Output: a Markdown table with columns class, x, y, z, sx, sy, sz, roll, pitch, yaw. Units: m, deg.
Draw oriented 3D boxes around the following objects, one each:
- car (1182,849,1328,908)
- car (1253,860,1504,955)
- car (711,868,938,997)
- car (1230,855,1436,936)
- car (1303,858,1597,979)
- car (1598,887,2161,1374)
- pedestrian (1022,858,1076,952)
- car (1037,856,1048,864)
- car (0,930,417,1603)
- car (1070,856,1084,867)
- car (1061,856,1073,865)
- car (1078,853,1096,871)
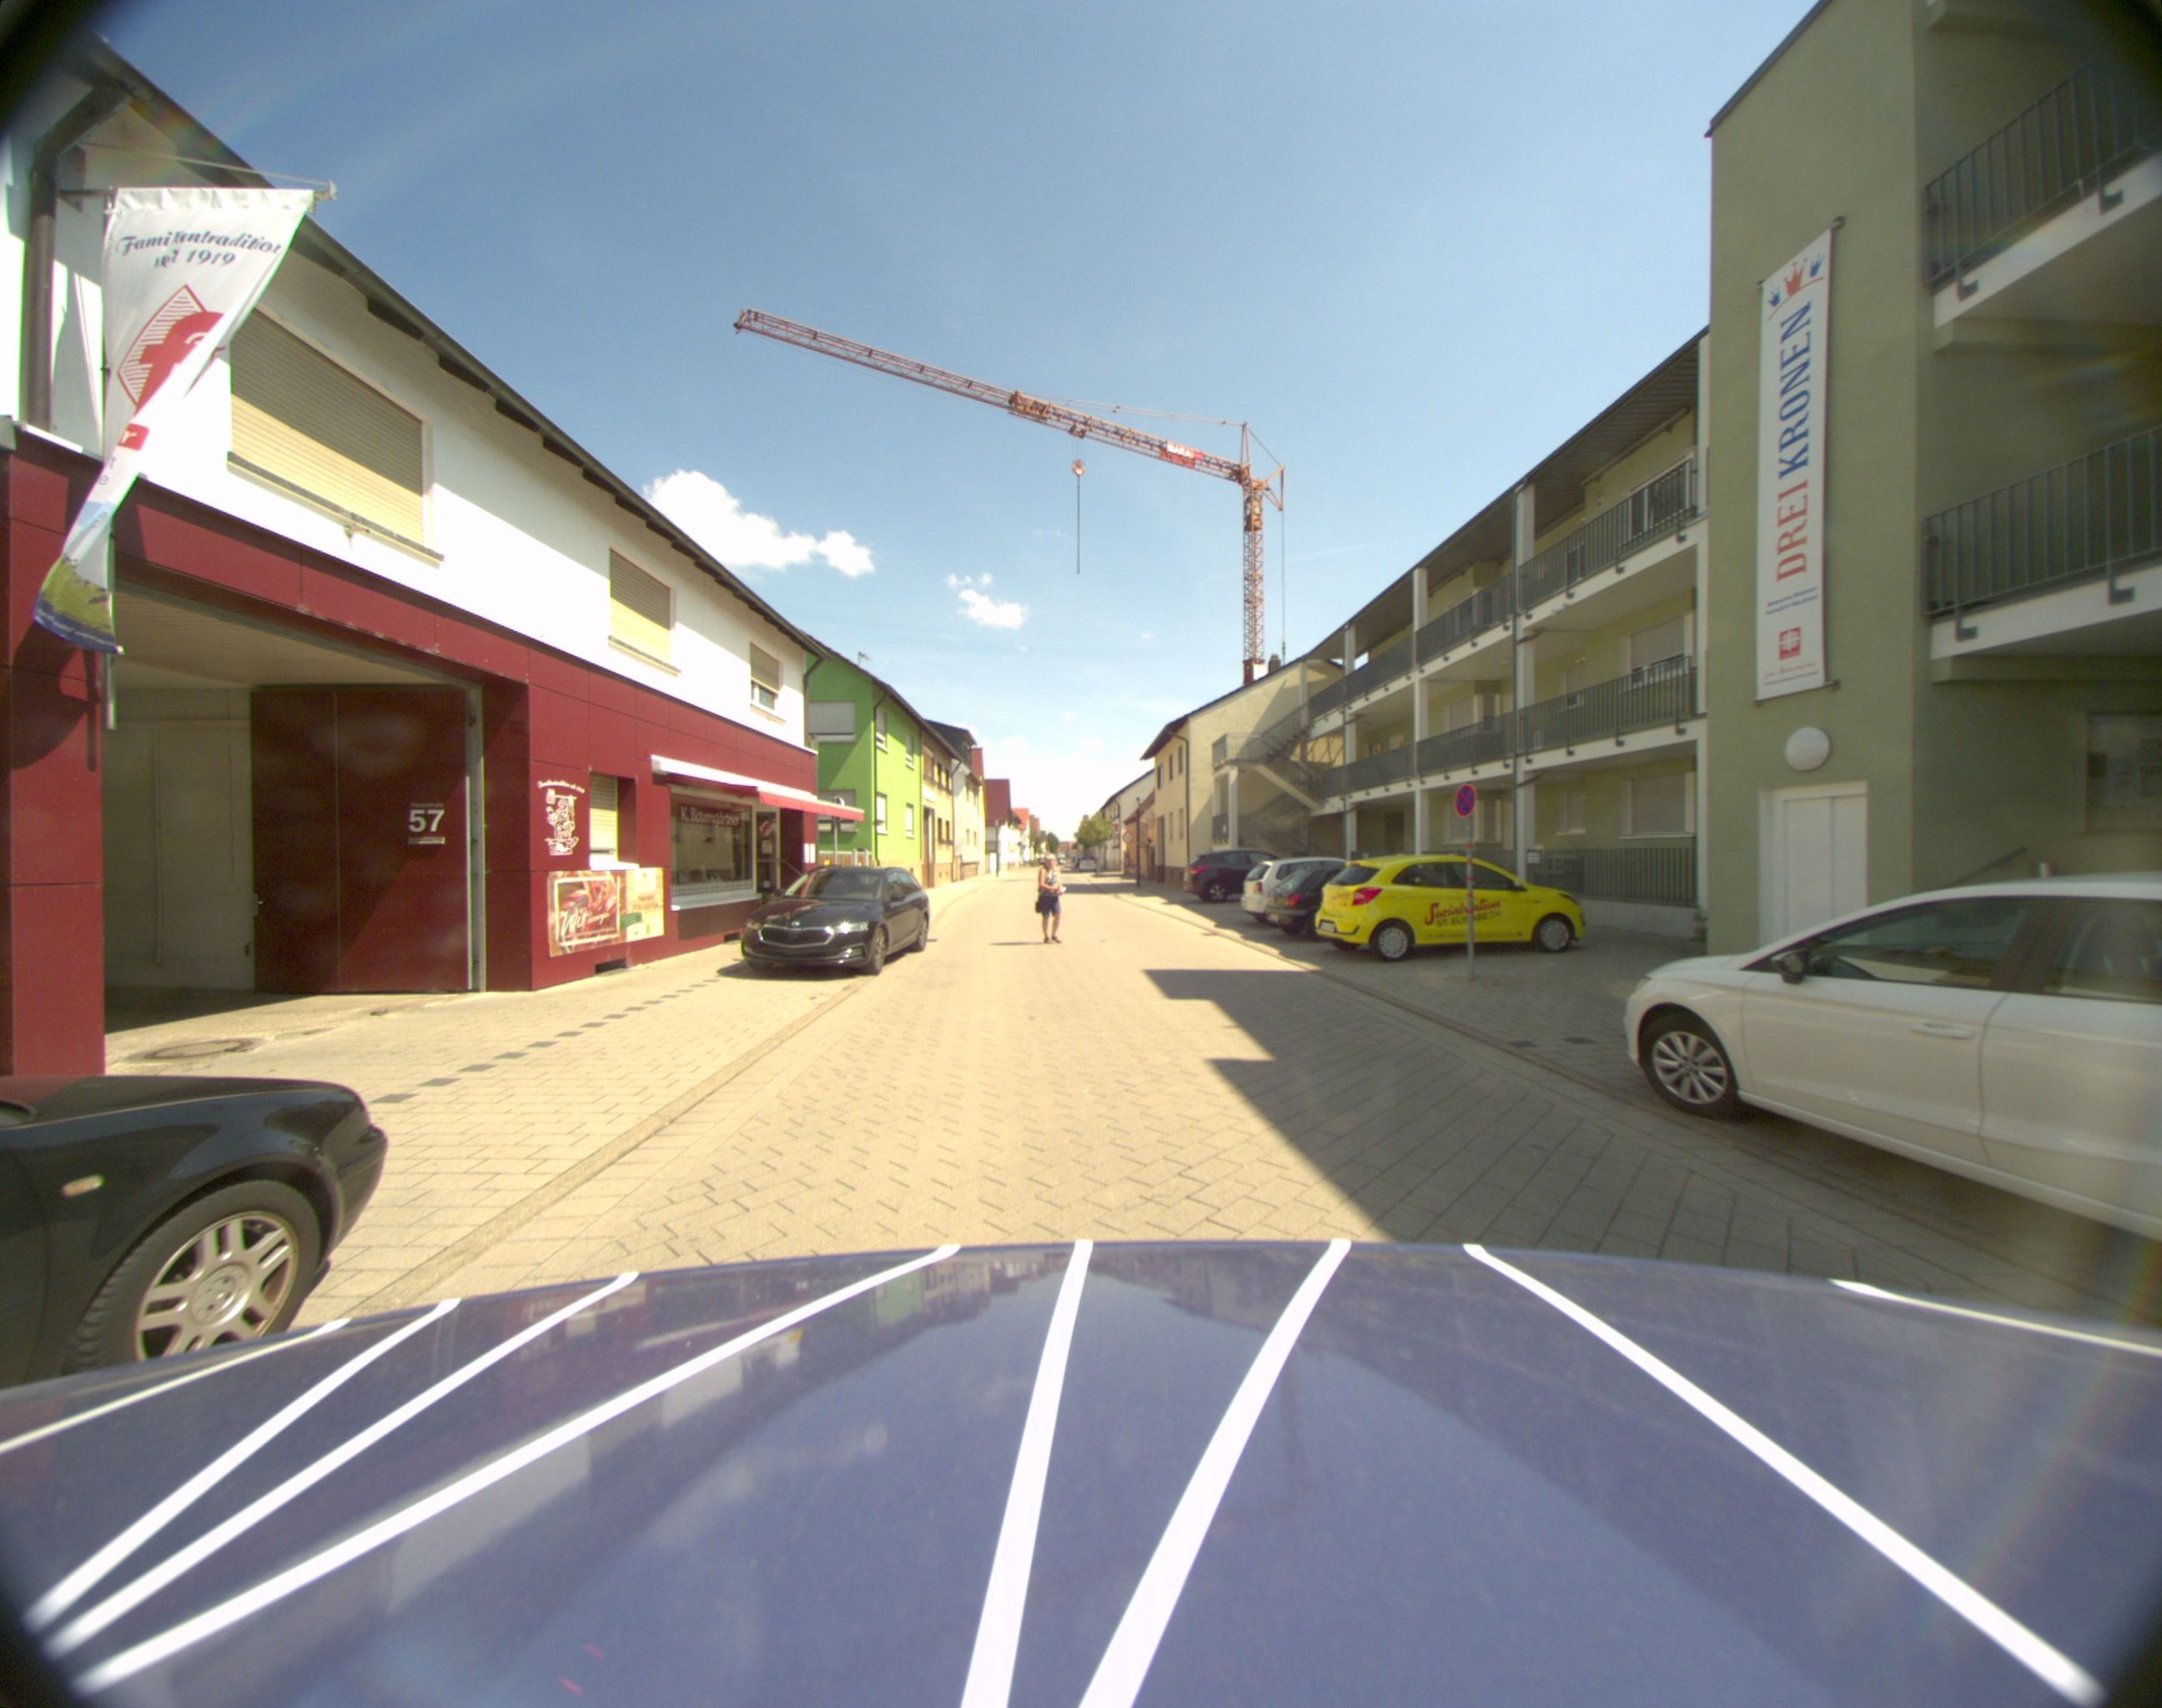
| class | x | y | z | sx | sy | sz | roll | pitch | yaw |
| --- | --- | --- | --- | --- | --- | --- | --- | --- | --- |
| car | 5.516 | 0.751 | 24.417 | 4.230 | 1.649 | 1.784 | -3 | 0 | -1 |
| car | 5.456 | 0.952 | 14.267 | 3.997 | 1.433 | 1.691 | -3 | 0 | -2 |
| car | -3.608 | 1.016 | 11.692 | 1.863 | 1.450 | 4.586 | 1 | 0 | 1 |
| car | 5.470 | 0.877 | 16.818 | 3.911 | 1.494 | 1.750 | -3 | 0 | 0 |
| car | 5.560 | 0.917 | 11.703 | 3.703 | 1.516 | 1.672 | -3 | 0 | -5 |
| car | 4.346 | 0.953 | 3.070 | 1.762 | 1.402 | 3.877 | -2 | 0 | -2 |
| pedestrian | -0.581 | 0.894 | 13.742 | 0.749 | 1.630 | 0.731 | -2 | 1 | -19 |
| car | -6.553 | 1.019 | 129.866 | 1.726 | 1.420 | 3.818 | 0 | 0 | -1 |
| car | -3.349 | 1.005 | 0.791 | 1.764 | 1.430 | 4.119 | 1 | 0 | -1 |
| car | -0.593 | 1.115 | 110.750 | 1.752 | 1.557 | 3.954 | 0 | 0 | -3 |
| car | -2.451 | 1.118 | 133.535 | 1.958 | 1.521 | 4.000 | 0 | 0 | 0 |
| car | 0.595 | 0.757 | 72.286 | 1.576 | 1.552 | 2.822 | -3 | 0 | 1 |
